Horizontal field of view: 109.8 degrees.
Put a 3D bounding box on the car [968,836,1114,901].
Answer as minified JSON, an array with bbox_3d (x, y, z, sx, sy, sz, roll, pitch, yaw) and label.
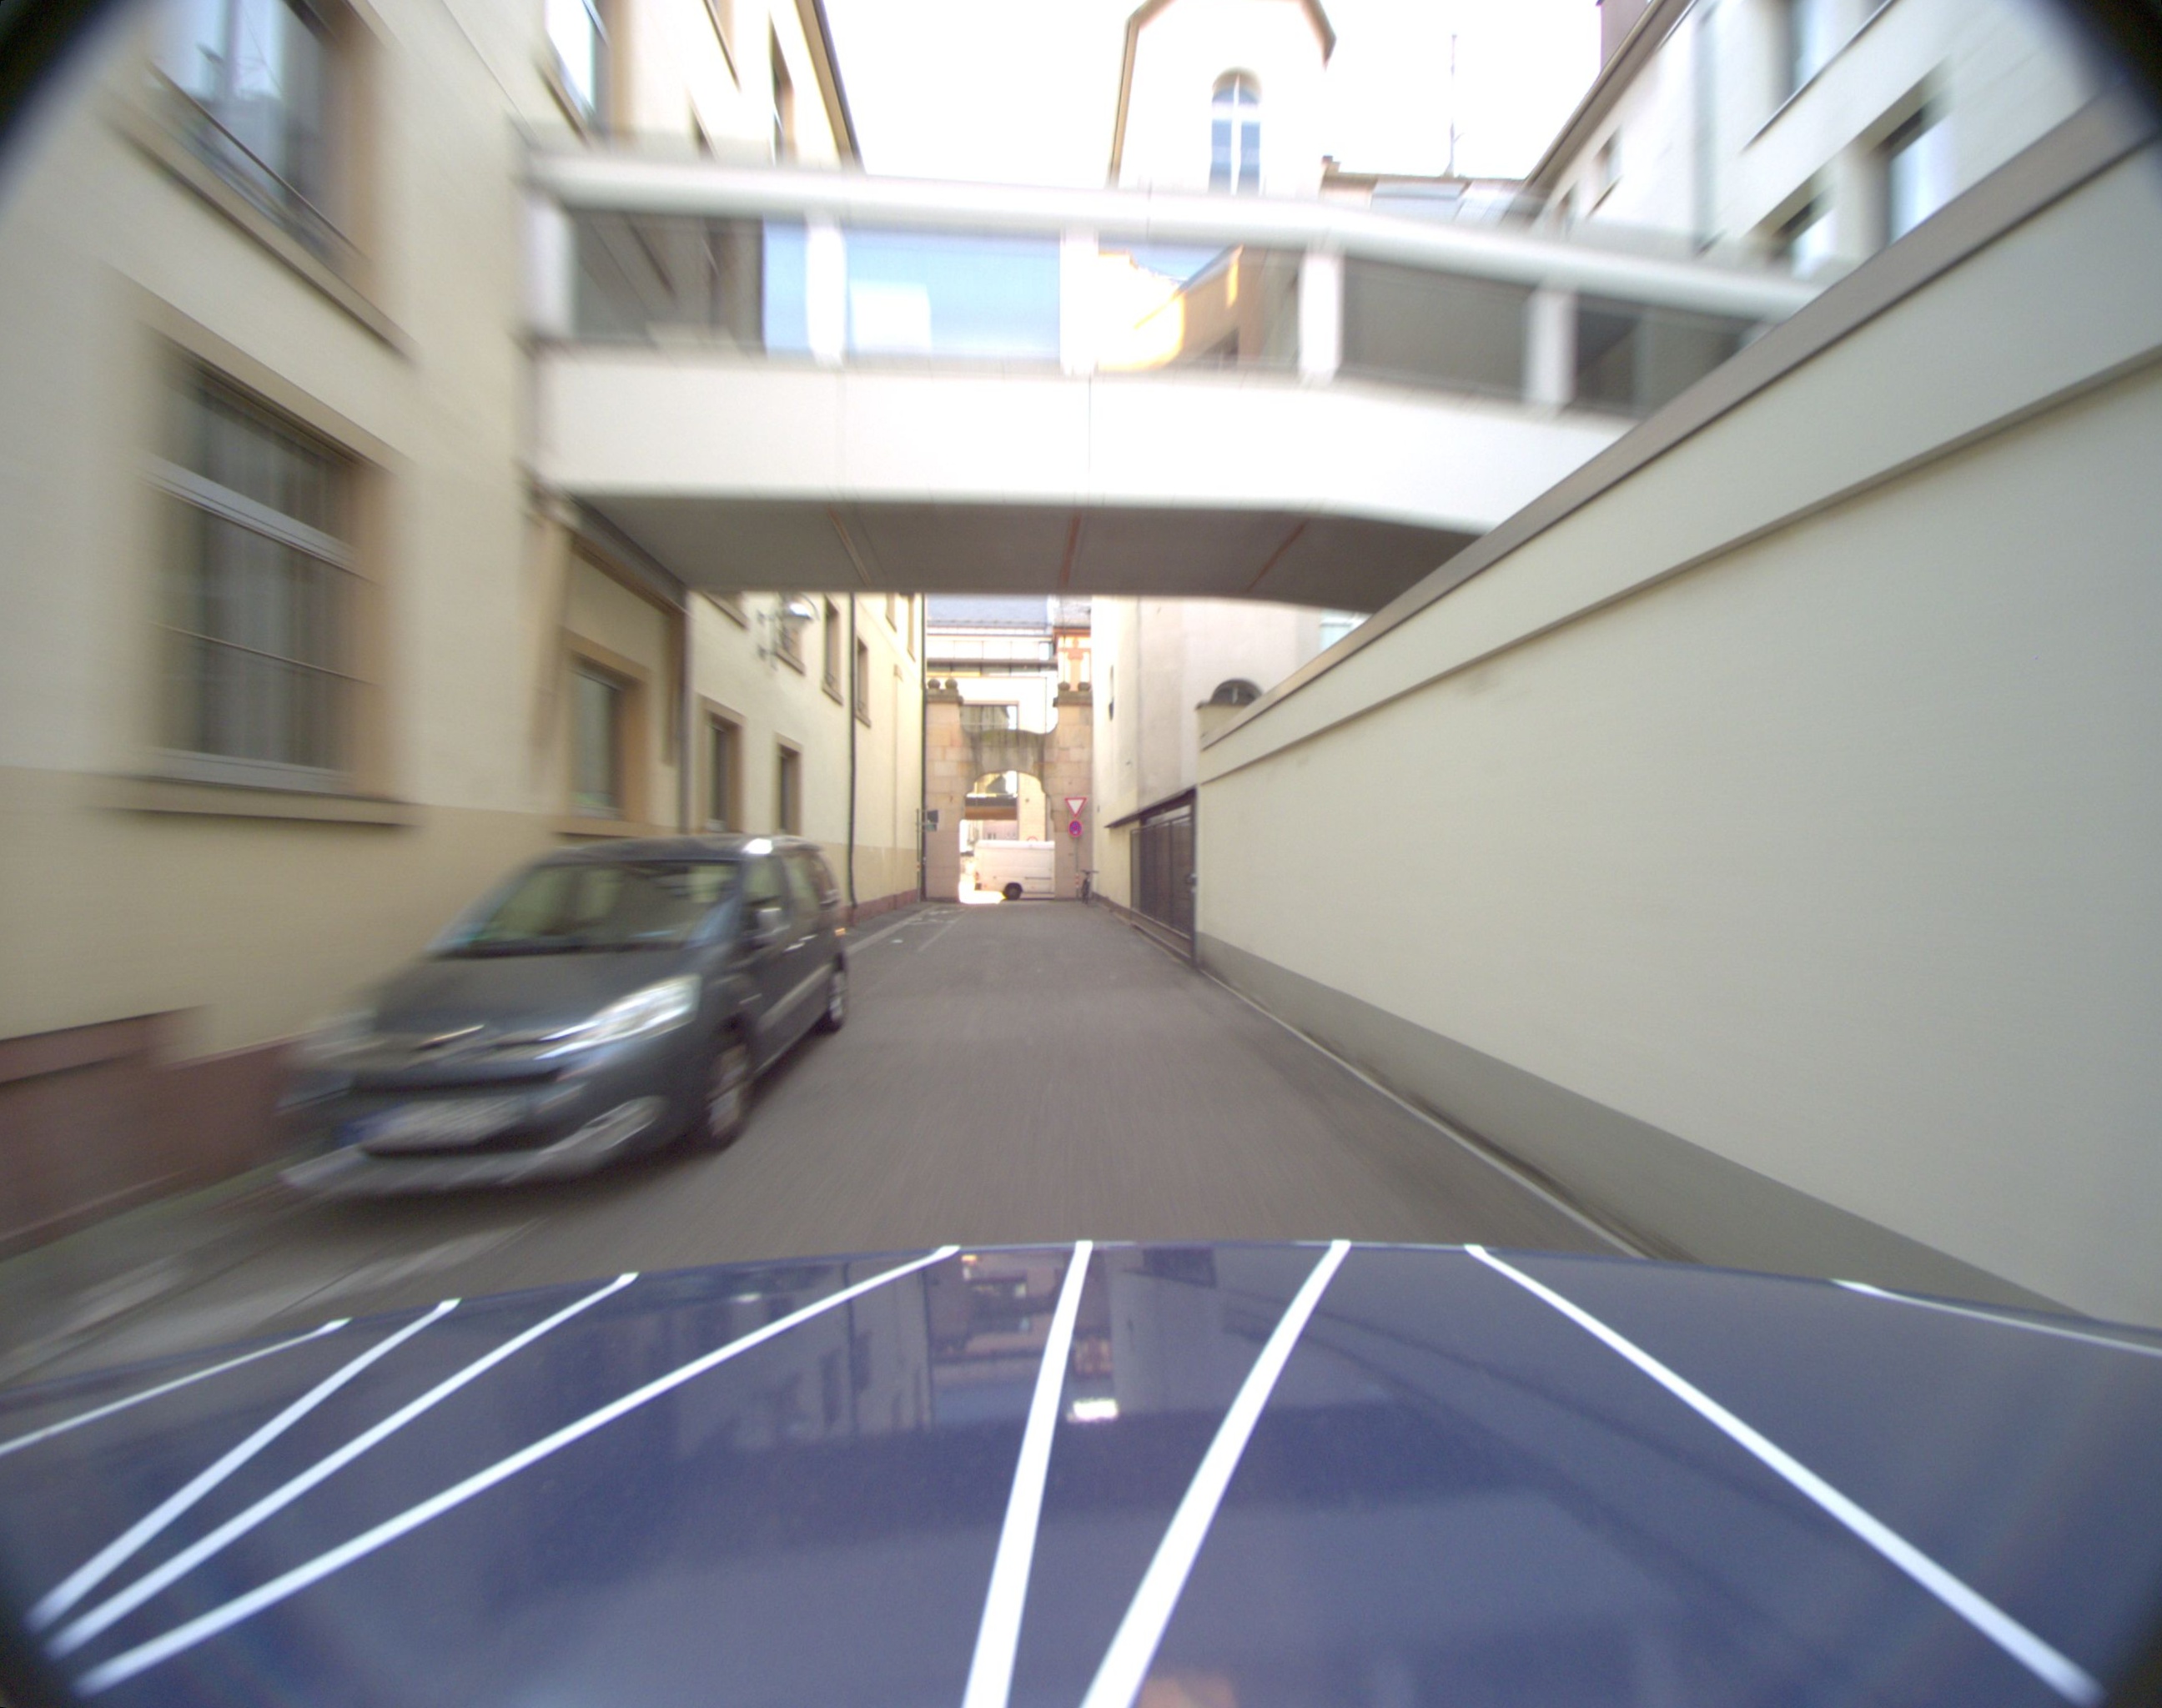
[{"bbox_3d":[-1.796,0.580,33.141,6.043,2.520,2.274,-2,0,-11],"label":"car"}]

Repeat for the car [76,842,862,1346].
[{"bbox_3d":[-2.895,0.864,5.170,1.765,1.756,4.747,-2,0,-5],"label":"car"}]
